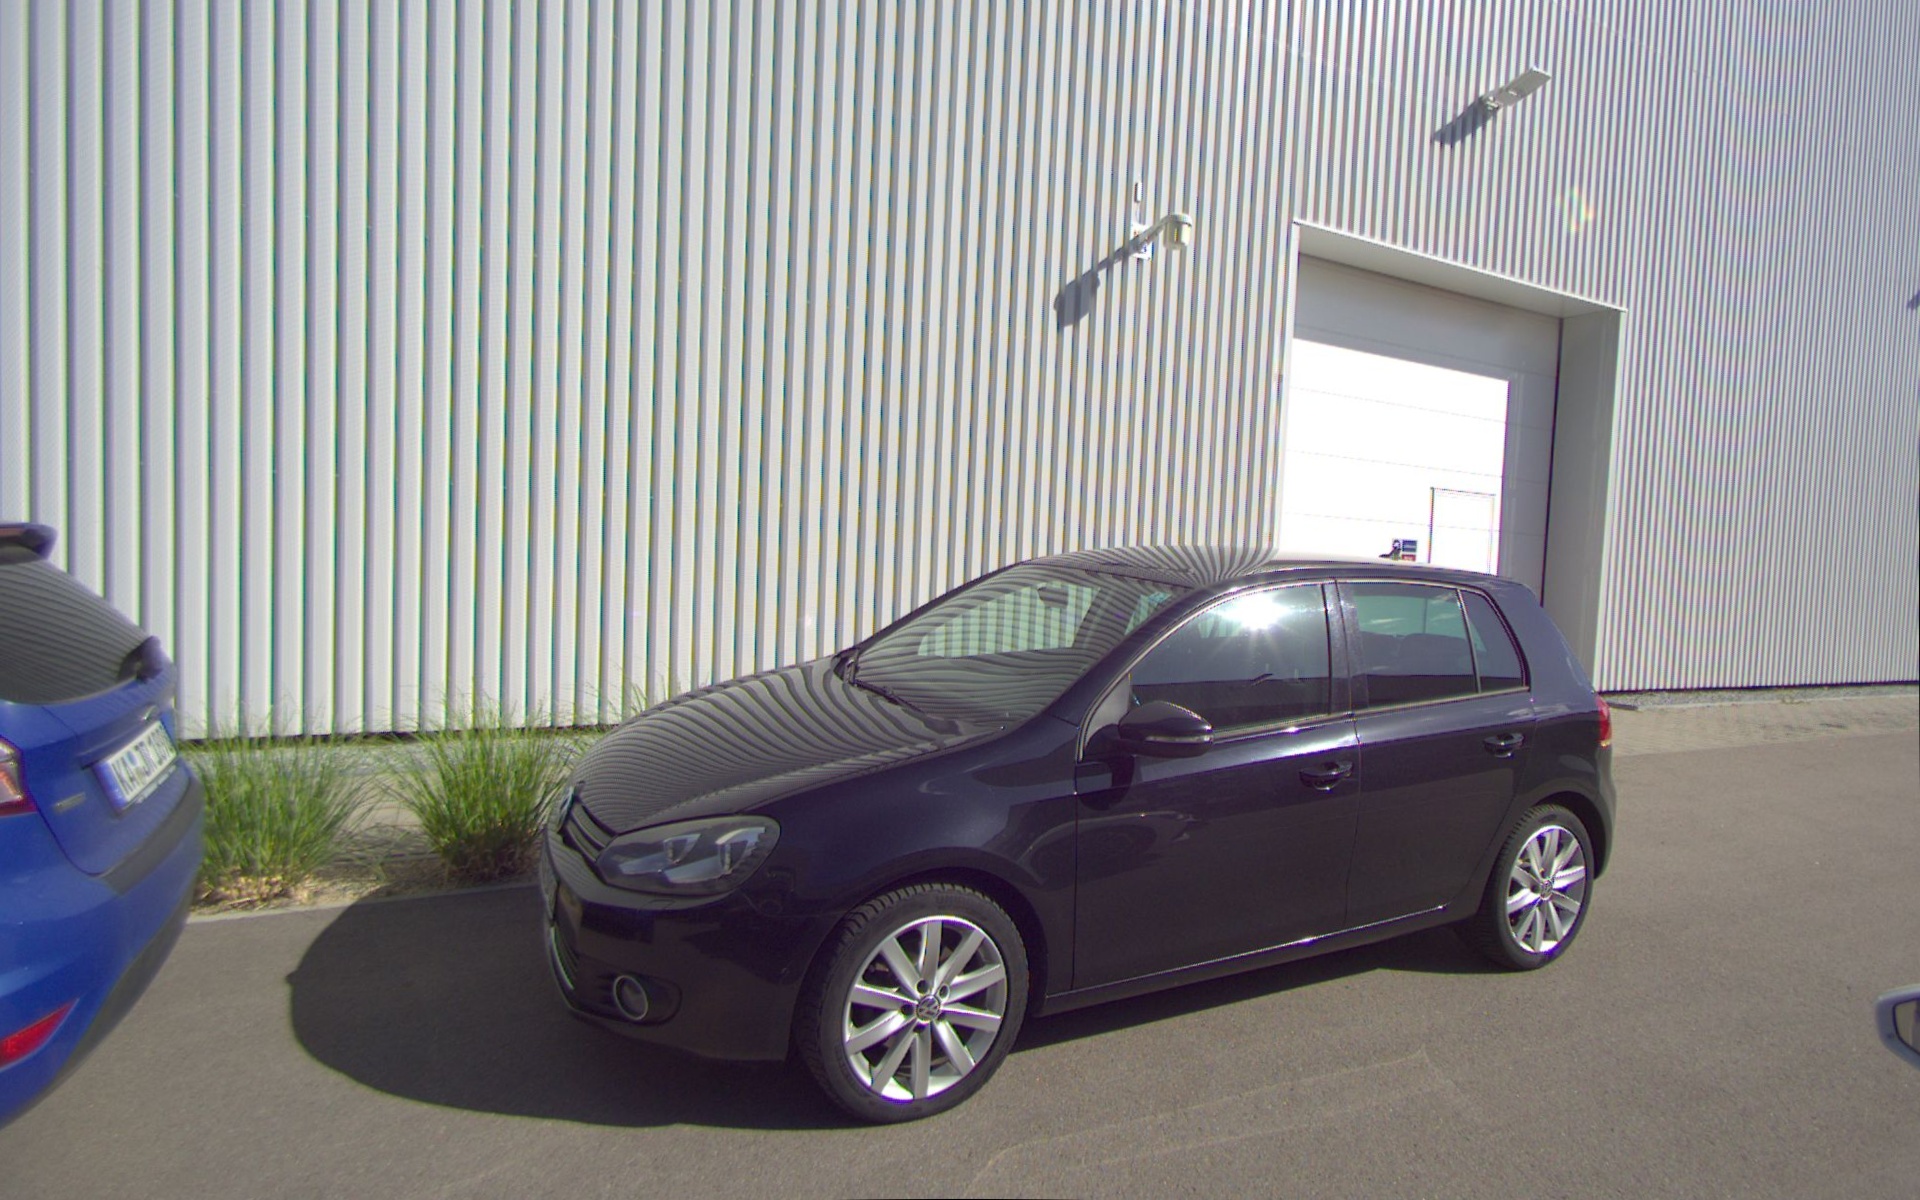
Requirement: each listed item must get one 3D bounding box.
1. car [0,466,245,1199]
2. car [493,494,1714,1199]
[{"bbox_3d":[-3.597,0.438,1.398,4.044,1.520,1.623,1,5,-29],"label":"car"},{"bbox_3d":[0.625,0.523,3.757,4.239,1.520,1.747,1,4,-27],"label":"car"}]
